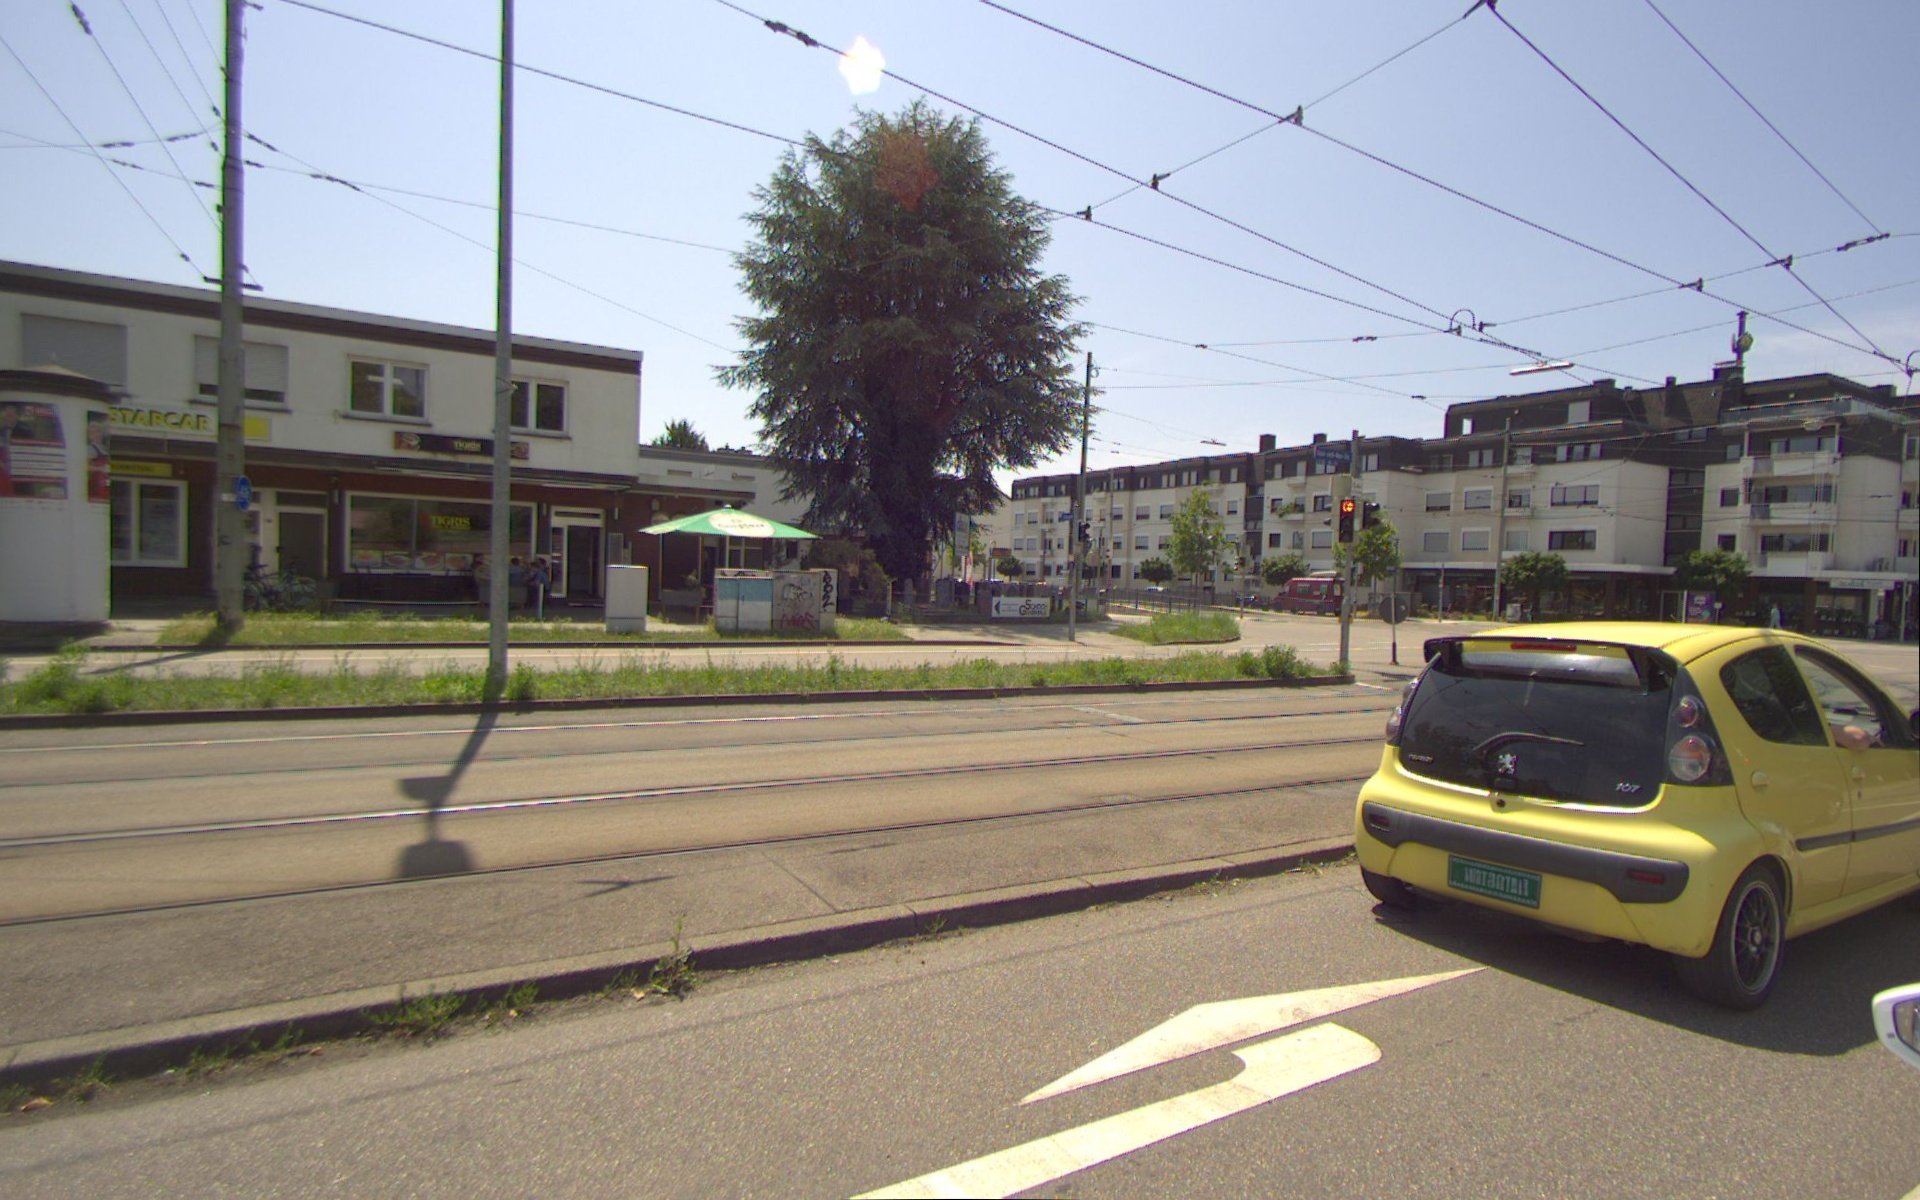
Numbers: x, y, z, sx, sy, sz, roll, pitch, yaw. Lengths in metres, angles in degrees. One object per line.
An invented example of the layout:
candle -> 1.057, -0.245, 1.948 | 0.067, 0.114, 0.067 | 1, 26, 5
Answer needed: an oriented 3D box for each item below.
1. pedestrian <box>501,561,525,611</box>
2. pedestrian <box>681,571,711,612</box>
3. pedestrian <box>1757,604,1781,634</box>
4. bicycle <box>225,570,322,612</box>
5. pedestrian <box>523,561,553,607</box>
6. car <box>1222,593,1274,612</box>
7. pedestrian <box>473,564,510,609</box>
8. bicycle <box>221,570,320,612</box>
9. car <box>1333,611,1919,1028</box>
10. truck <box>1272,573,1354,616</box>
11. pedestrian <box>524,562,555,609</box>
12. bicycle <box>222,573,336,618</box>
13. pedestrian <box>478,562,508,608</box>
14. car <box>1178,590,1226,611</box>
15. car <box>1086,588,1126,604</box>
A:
pedestrian -> -11.422, -0.359, 25.671 | 0.486, 1.255, 0.572 | 1, 2, -31
pedestrian -> -7.499, -0.252, 28.523 | 0.666, 1.142, 0.514 | 1, 2, -30
pedestrian -> 46.868, 1.086, 58.206 | 0.693, 1.719, 0.801 | 1, 2, -29
bicycle -> -15.500, -0.205, 22.720 | 1.767, 0.859, 0.525 | 2, 4, -31
pedestrian -> -11.411, -0.438, 27.142 | 0.666, 1.225, 0.514 | 1, 2, -30
car -> 21.014, 0.184, 73.427 | 1.571, 1.235, 3.553 | 1, 1, -29
pedestrian -> -12.137, -0.349, 26.022 | 0.801, 1.142, 0.561 | 1, 2, -30
bicycle -> -15.212, -0.193, 22.211 | 1.767, 0.859, 0.525 | 2, 4, -31
car -> 3.769, 0.820, 5.132 | 3.614, 1.440, 1.607 | 2, -1, -31
truck -> 23.834, -0.435, 68.090 | 2.161, 2.734, 5.002 | 1, 1, -29
pedestrian -> -11.126, -0.389, 26.593 | 0.666, 1.215, 0.514 | 1, 2, -30
bicycle -> -14.375, -0.093, 21.261 | 1.936, 0.859, 0.599 | 2, 4, -31
pedestrian -> -12.389, -0.400, 26.649 | 0.666, 1.179, 0.514 | 1, 2, -30
car -> 18.589, 0.002, 77.255 | 1.571, 1.452, 3.553 | 1, 1, -29
car -> 12.719, -0.364, 87.634 | 1.571, 1.257, 3.553 | 1, 1, -29
